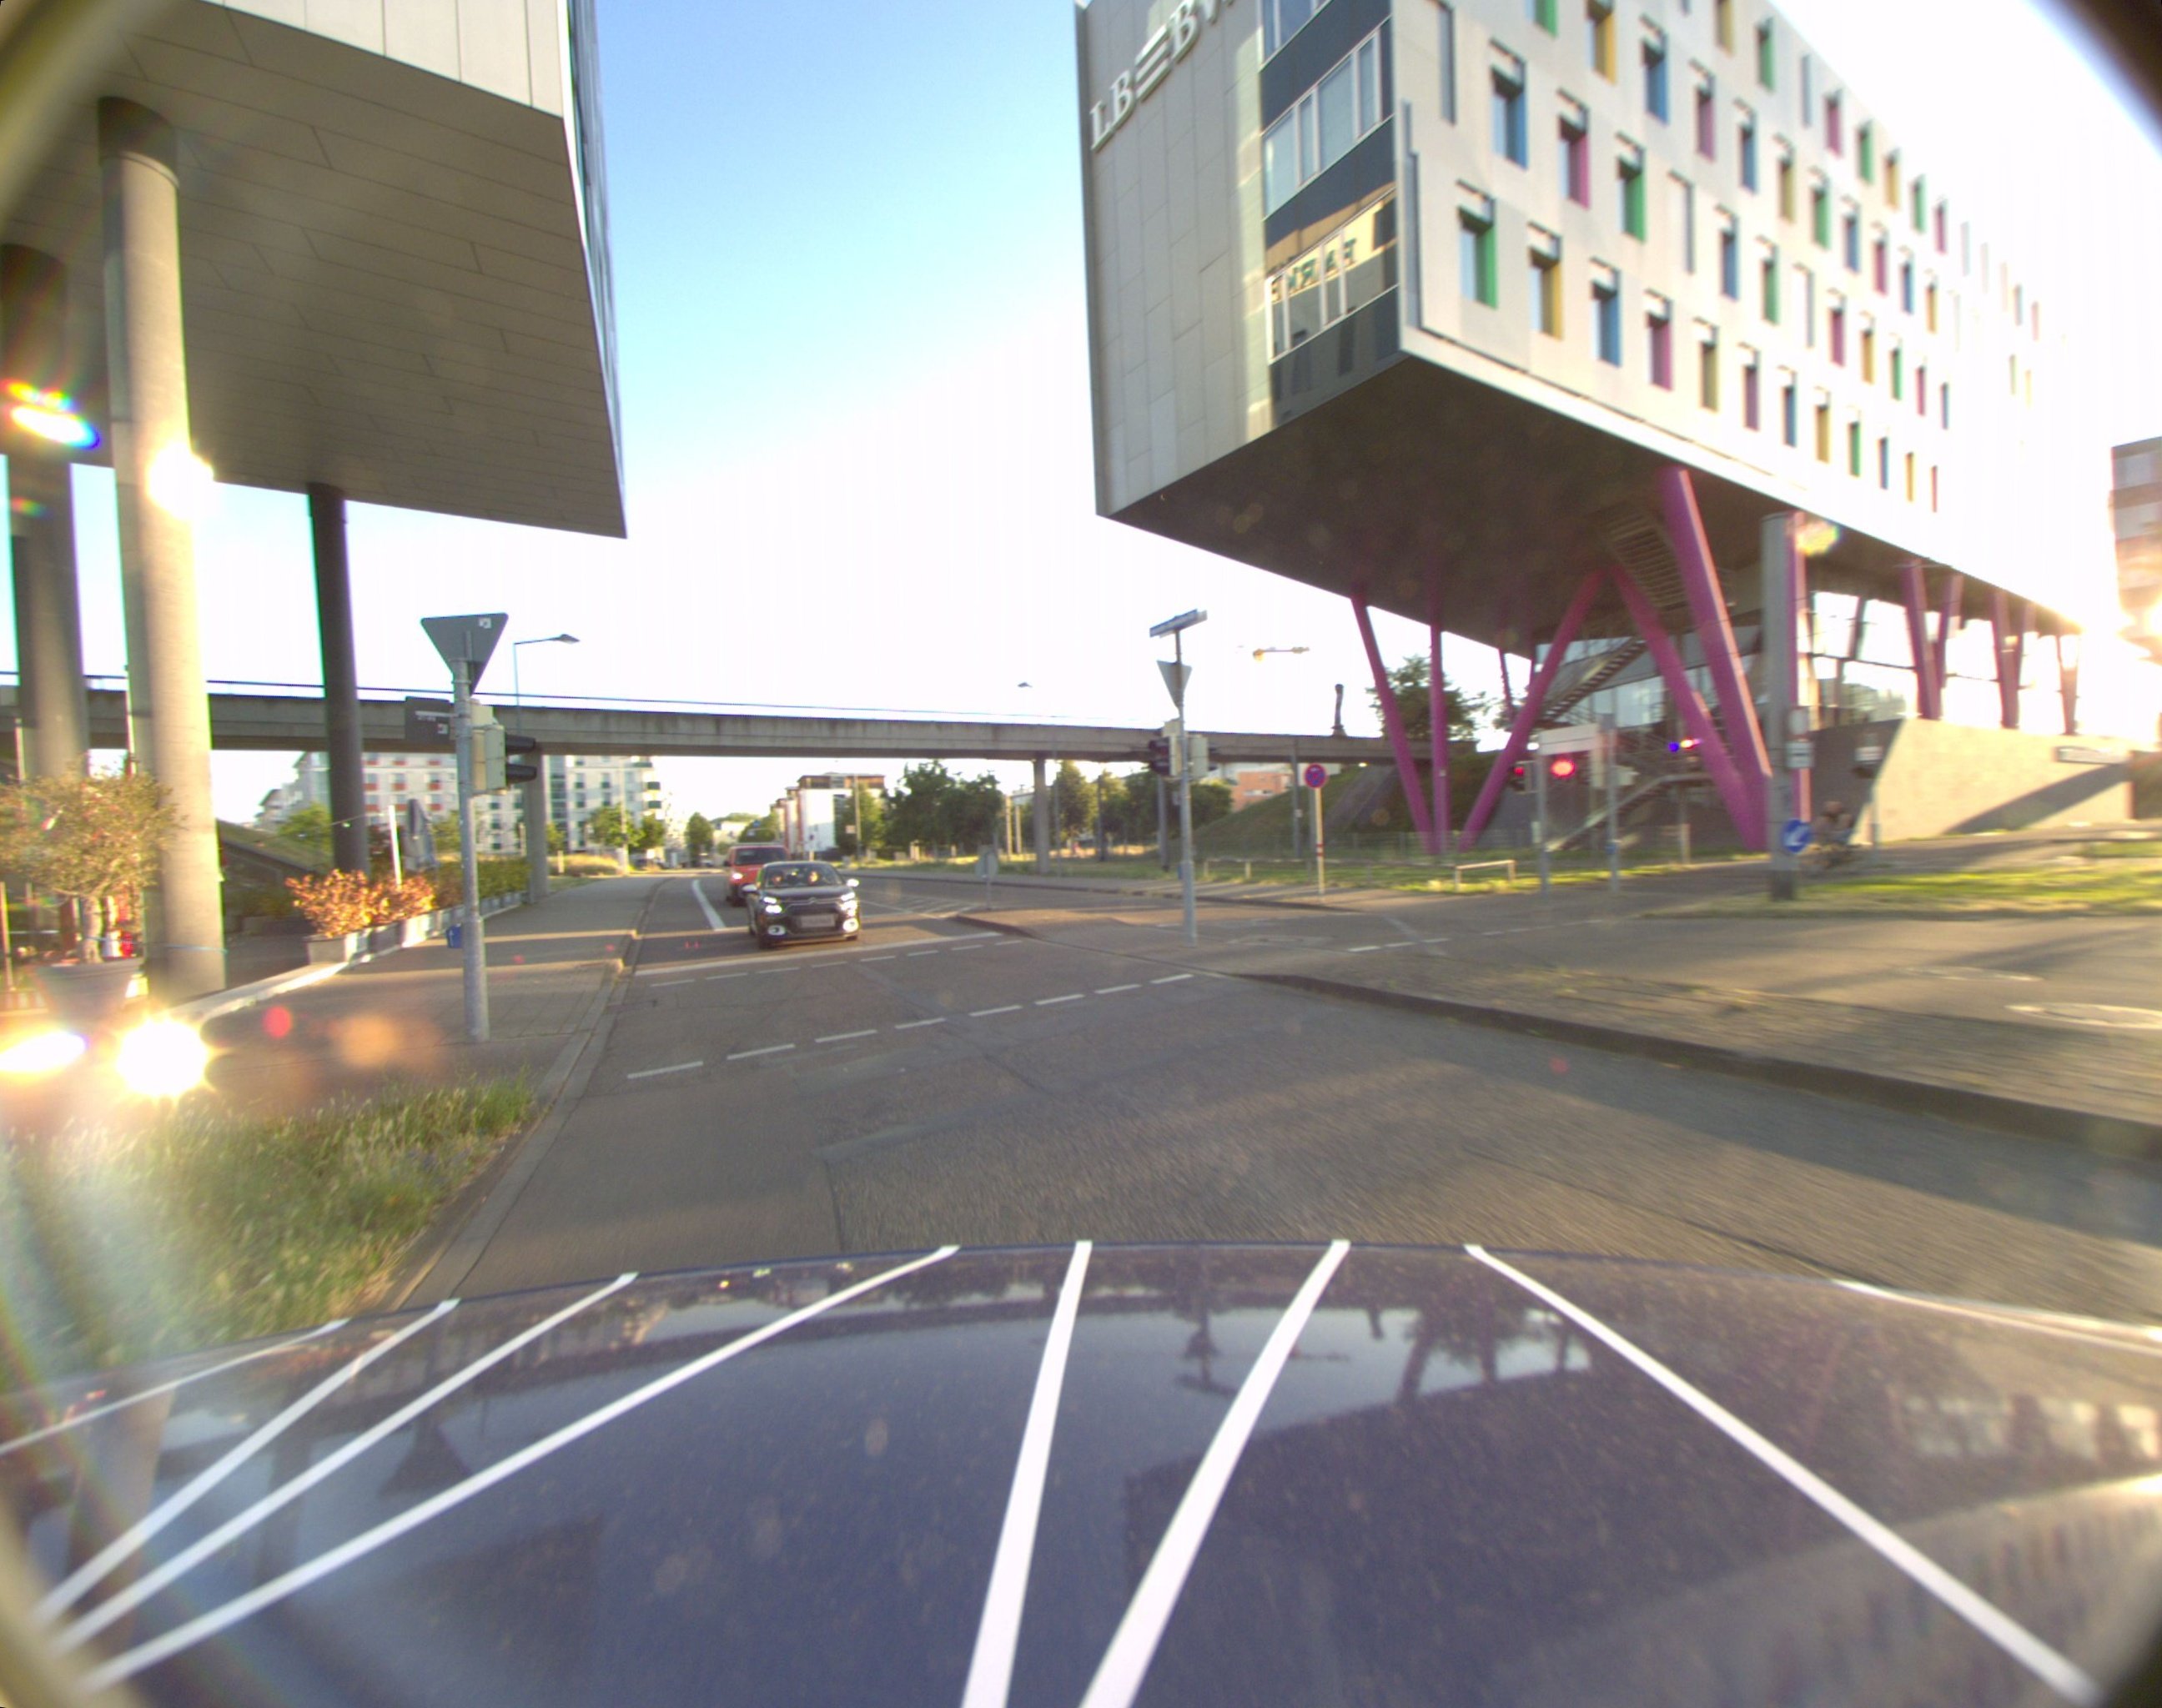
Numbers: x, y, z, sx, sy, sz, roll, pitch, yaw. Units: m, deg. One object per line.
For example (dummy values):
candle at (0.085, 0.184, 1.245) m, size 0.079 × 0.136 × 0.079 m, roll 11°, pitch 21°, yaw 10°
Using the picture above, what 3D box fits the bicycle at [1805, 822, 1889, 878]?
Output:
bicycle at (18.168, -0.099, 18.019) m, size 2.113 × 1.200 × 0.741 m, roll -3°, pitch 2°, yaw -25°

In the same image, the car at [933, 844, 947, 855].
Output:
car at (-22.954, -0.685, 123.922) m, size 1.873 × 1.711 × 3.839 m, roll -3°, pitch 1°, yaw -15°

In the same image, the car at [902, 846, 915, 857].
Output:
car at (-27.792, -0.410, 122.222) m, size 1.873 × 1.711 × 3.839 m, roll -3°, pitch 1°, yaw -15°

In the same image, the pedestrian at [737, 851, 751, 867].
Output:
pedestrian at (-42.572, 0.640, 95.964) m, size 1.090 × 2.003 × 1.139 m, roll -2°, pitch 3°, yaw 2°

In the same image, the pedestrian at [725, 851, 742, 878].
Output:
pedestrian at (-27.331, 0.825, 59.806) m, size 0.958 × 2.003 × 0.629 m, roll -3°, pitch 3°, yaw -9°

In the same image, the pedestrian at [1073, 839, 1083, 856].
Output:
pedestrian at (-0.289, -0.620, 72.149) m, size 0.780 × 1.602 × 0.416 m, roll -3°, pitch 2°, yaw -15°

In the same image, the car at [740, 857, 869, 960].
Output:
car at (-5.287, 0.872, 14.216) m, size 1.763 × 1.543 × 4.063 m, roll -3°, pitch 1°, yaw -26°

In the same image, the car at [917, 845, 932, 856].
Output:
car at (-25.318, -0.551, 123.025) m, size 1.873 × 1.711 × 3.838 m, roll -3°, pitch 1°, yaw -18°

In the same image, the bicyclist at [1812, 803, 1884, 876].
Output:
bicyclist at (18.188, -0.348, 18.023) m, size 1.289 × 1.624 × 0.806 m, roll -3°, pitch 2°, yaw -26°

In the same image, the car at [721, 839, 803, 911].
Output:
car at (-10.391, 0.600, 24.543) m, size 1.934 × 1.980 × 4.811 m, roll -4°, pitch 2°, yaw -28°
